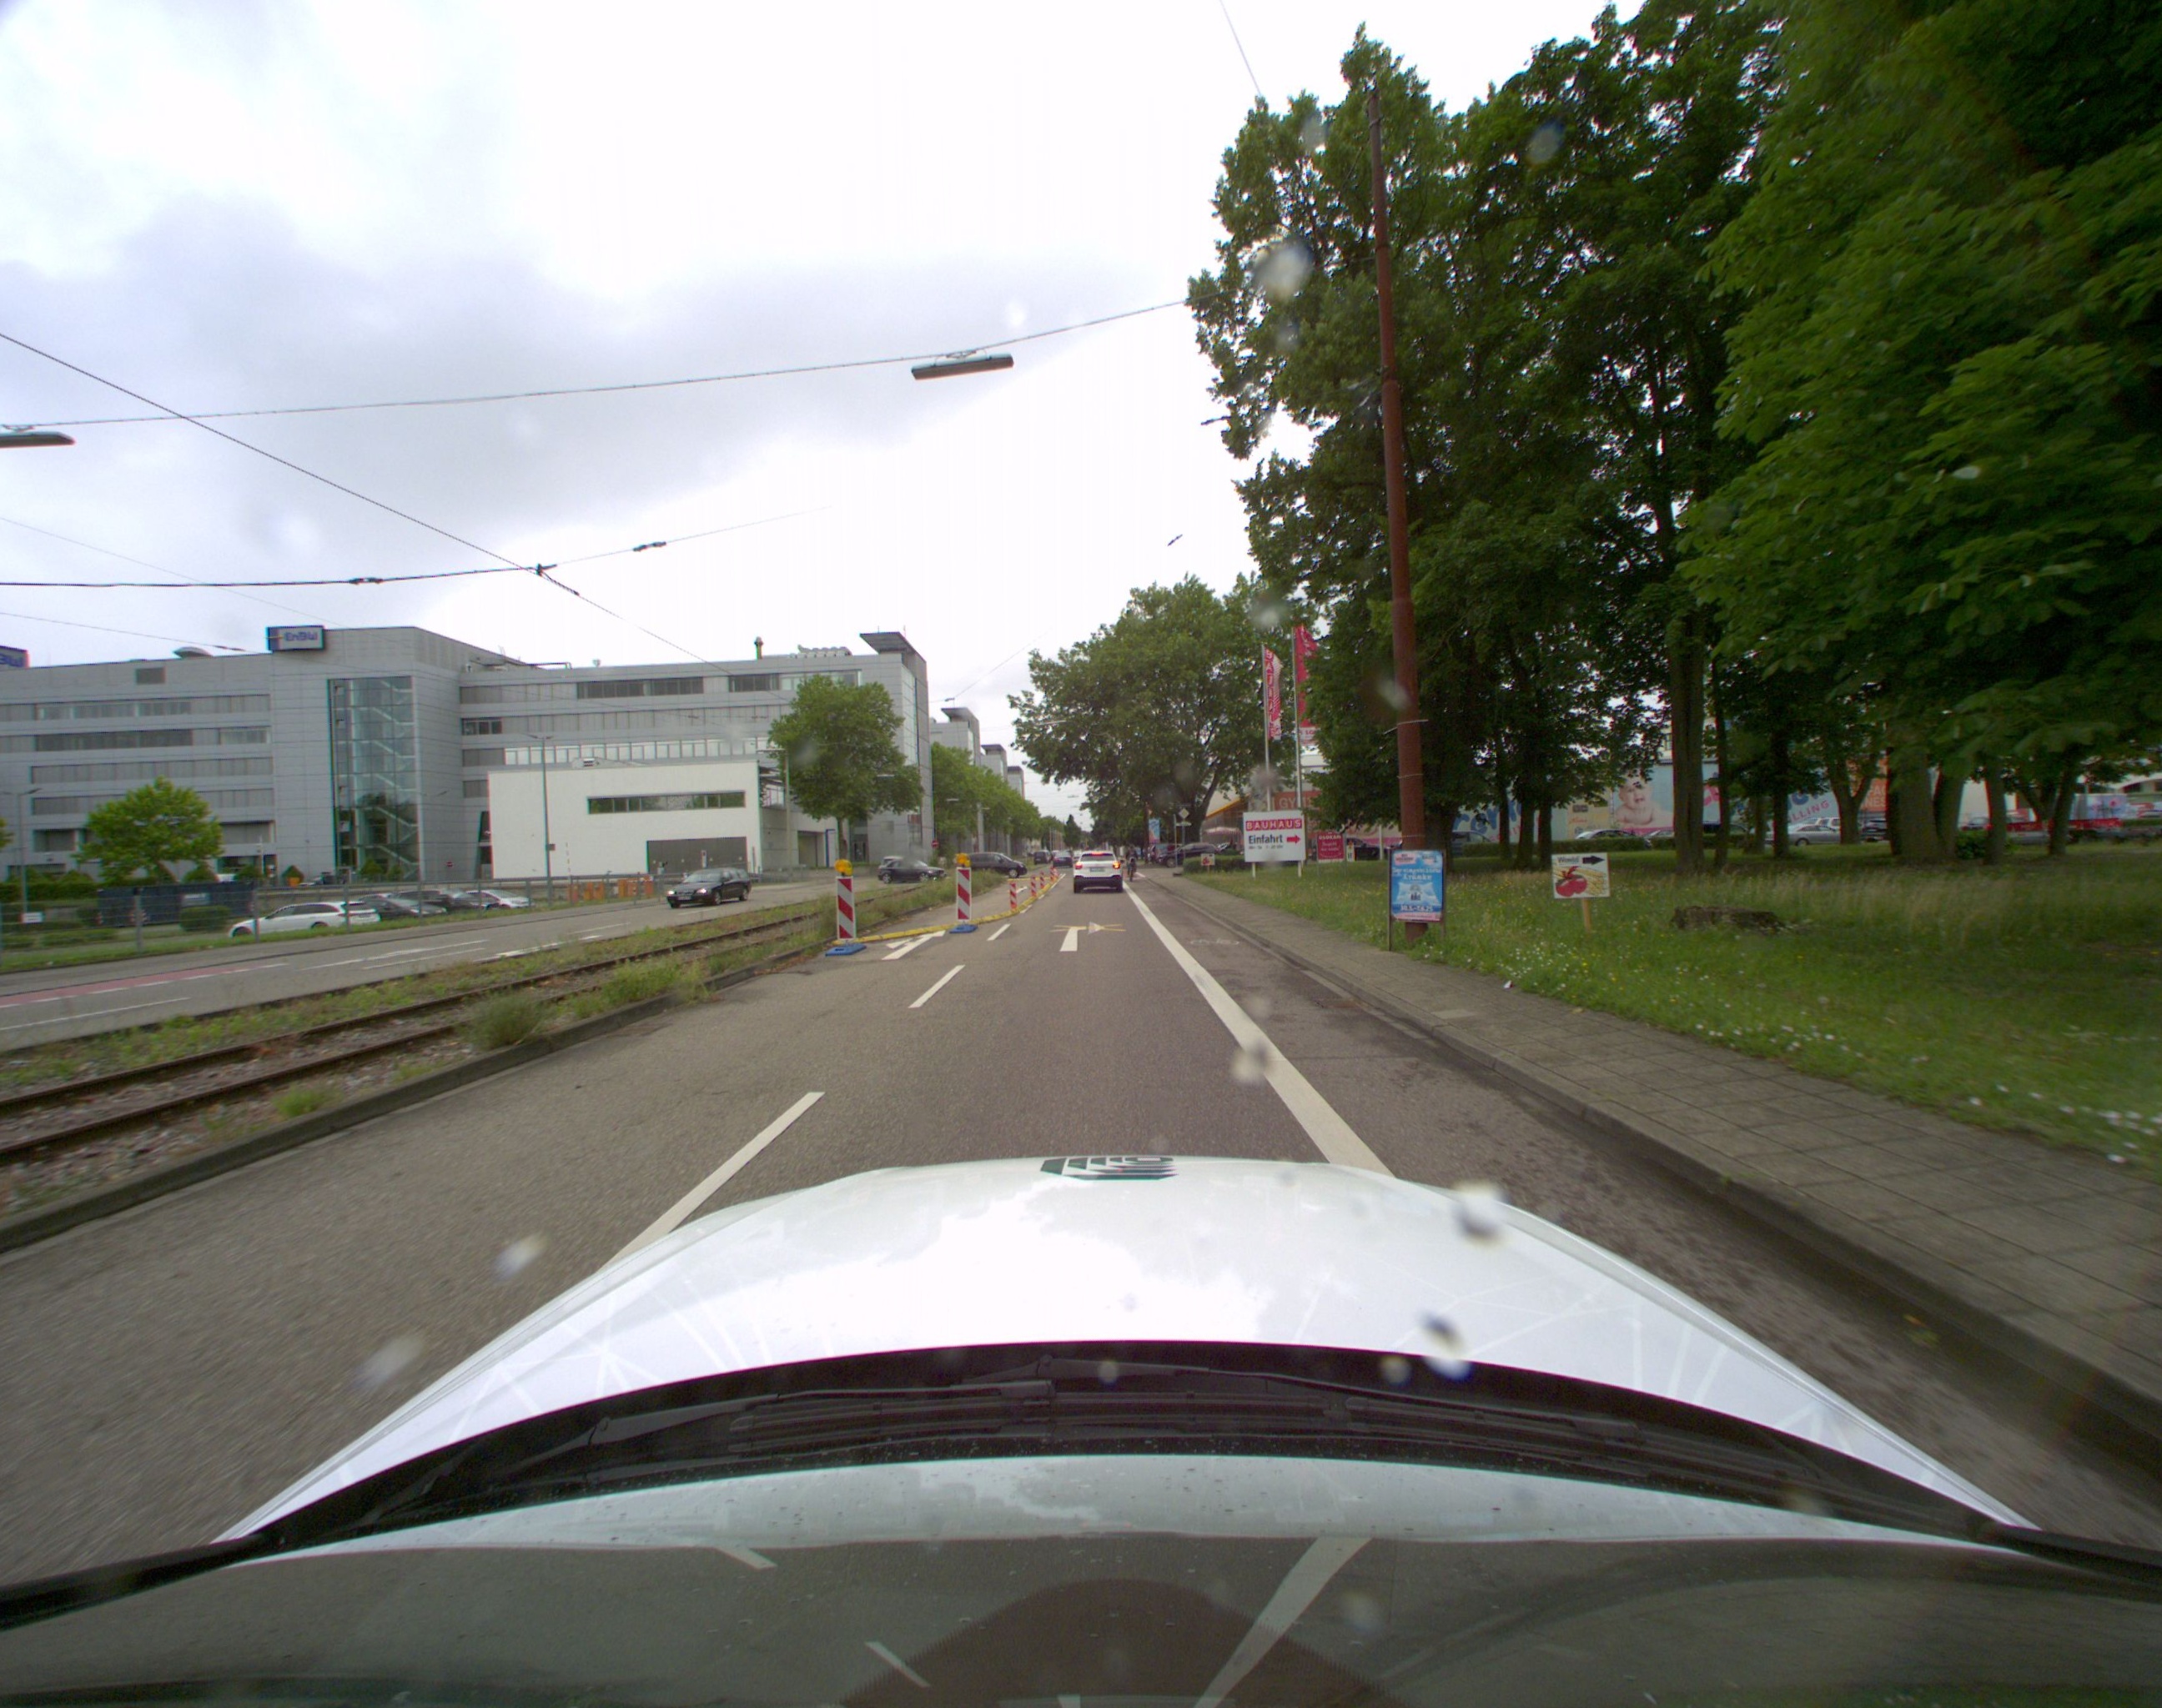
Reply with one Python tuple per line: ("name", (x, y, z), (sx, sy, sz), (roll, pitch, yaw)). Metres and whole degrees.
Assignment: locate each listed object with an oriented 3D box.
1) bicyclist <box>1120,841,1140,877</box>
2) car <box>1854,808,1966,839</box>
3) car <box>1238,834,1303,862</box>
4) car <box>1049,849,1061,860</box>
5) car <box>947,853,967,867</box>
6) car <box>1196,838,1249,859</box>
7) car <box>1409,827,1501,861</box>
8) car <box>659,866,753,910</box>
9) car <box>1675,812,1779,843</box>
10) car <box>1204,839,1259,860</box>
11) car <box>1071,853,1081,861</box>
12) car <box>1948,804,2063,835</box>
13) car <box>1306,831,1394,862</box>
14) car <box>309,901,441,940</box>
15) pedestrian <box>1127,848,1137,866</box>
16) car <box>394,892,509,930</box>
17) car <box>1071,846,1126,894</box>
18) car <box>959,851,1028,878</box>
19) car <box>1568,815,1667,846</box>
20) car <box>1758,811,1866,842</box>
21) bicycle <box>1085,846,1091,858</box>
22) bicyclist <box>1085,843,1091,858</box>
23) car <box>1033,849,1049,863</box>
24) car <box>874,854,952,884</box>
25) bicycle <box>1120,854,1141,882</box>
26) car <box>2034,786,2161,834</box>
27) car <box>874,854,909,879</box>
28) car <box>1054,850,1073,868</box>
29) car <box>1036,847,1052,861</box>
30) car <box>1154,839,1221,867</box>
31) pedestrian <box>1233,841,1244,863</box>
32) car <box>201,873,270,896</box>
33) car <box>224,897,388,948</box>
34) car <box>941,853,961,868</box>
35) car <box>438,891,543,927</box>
("bicyclist", (2.309, 0.237, 38.360), (0.814, 1.630, 1.235), (-3, 0, 1))
("car", (49.630, -1.823, 48.817), (4.538, 1.571, 2.073), (-3, 0, 0))
("car", (13.077, -0.438, 56.374), (4.189, 1.677, 1.997), (-3, 0, 8))
("car", (-4.425, 0.026, 137.627), (1.871, 1.763, 3.999), (-3, 0, 0))
("car", (-16.352, 0.773, 107.654), (1.871, 1.632, 4.204), (-3, 0, 0))
("car", (12.159, -0.472, 70.200), (4.202, 1.551, 1.789), (-3, 0, -2))
("car", (22.382, -0.628, 48.821), (4.538, 1.790, 2.074), (-2, 1, 0))
("car", (-14.999, 1.306, 32.824), (1.815, 1.472, 4.422), (-3, 0, -3))
("car", (38.750, -1.564, 48.946), (4.538, 1.571, 2.073), (-3, 0, 0))
("car", (12.555, -0.376, 68.054), (4.202, 1.551, 1.789), (-3, 0, -2))
("car", (-0.954, 0.574, 151.232), (1.791, 1.513, 3.703), (-1, 1, -2))
("car", (55.547, -2.033, 49.015), (4.538, 1.571, 2.073), (-3, 0, 0))
("car", (15.967, -0.451, 48.442), (4.538, 1.571, 1.993), (-3, 0, 0))
("car", (-30.977, 2.910, 35.834), (3.977, 1.314, 1.911), (-3, 0, -2))
("pedestrian", (4.907, 0.260, 78.162), (0.759, 1.704, 0.680), (-3, 0, -4))
("car", (-30.537, 2.732, 39.605), (3.977, 1.485, 1.911), (-3, 0, -2))
("car", (0.594, 0.547, 30.408), (1.819, 1.600, 3.773), (-1, 1, -2))
("car", (-5.172, 0.628, 48.559), (3.870, 1.556, 1.825), (-1, 0, 0))
("car", (32.192, -1.384, 48.969), (4.538, 1.571, 2.073), (-3, 0, 0))
("car", (43.811, -1.650, 48.879), (4.538, 1.571, 2.073), (-3, 0, 0))
("bicycle", (0.930, -0.276, 103.303), (0.669, 1.393, 2.165), (-1, 1, -2))
("bicyclist", (0.921, -0.465, 103.390), (0.669, 1.815, 0.759), (-1, 1, -2))
("car", (-5.050, 0.217, 103.407), (1.871, 1.632, 3.999), (-3, 0, 0))
("car", (-9.914, 0.898, 47.966), (4.080, 1.475, 1.835), (-4, -1, 23))
("bicycle", (2.331, 0.621, 38.363), (0.814, 1.212, 2.683), (-3, 0, 1))
("car", (61.634, -2.640, 49.162), (5.723, 2.537, 2.073), (-3, 0, 0))
("car", (-14.870, 0.954, 64.125), (1.815, 1.783, 4.422), (-3, 0, -3))
("car", (-1.603, 0.447, 73.715), (1.680, 1.513, 3.703), (-1, 1, -2))
("car", (-4.906, 0.024, 109.223), (1.871, 1.763, 3.999), (-3, 0, 0))
("car", (7.217, -0.084, 55.748), (4.299, 1.677, 1.993), (-3, 0, 1))
("pedestrian", (12.159, -0.170, 62.942), (0.677, 1.704, 0.598), (-3, 0, -2))
("car", (-85.804, 3.102, 82.708), (1.986, 2.013, 4.652), (-3, 0, 2))
("car", (-30.846, 2.711, 32.511), (4.515, 1.634, 1.911), (-3, 0, -2))
("car", (-16.214, 0.795, 101.658), (1.871, 1.632, 3.999), (-3, 0, 0))
("car", (-30.637, 2.845, 42.347), (3.977, 1.485, 1.911), (-3, 0, -2))
